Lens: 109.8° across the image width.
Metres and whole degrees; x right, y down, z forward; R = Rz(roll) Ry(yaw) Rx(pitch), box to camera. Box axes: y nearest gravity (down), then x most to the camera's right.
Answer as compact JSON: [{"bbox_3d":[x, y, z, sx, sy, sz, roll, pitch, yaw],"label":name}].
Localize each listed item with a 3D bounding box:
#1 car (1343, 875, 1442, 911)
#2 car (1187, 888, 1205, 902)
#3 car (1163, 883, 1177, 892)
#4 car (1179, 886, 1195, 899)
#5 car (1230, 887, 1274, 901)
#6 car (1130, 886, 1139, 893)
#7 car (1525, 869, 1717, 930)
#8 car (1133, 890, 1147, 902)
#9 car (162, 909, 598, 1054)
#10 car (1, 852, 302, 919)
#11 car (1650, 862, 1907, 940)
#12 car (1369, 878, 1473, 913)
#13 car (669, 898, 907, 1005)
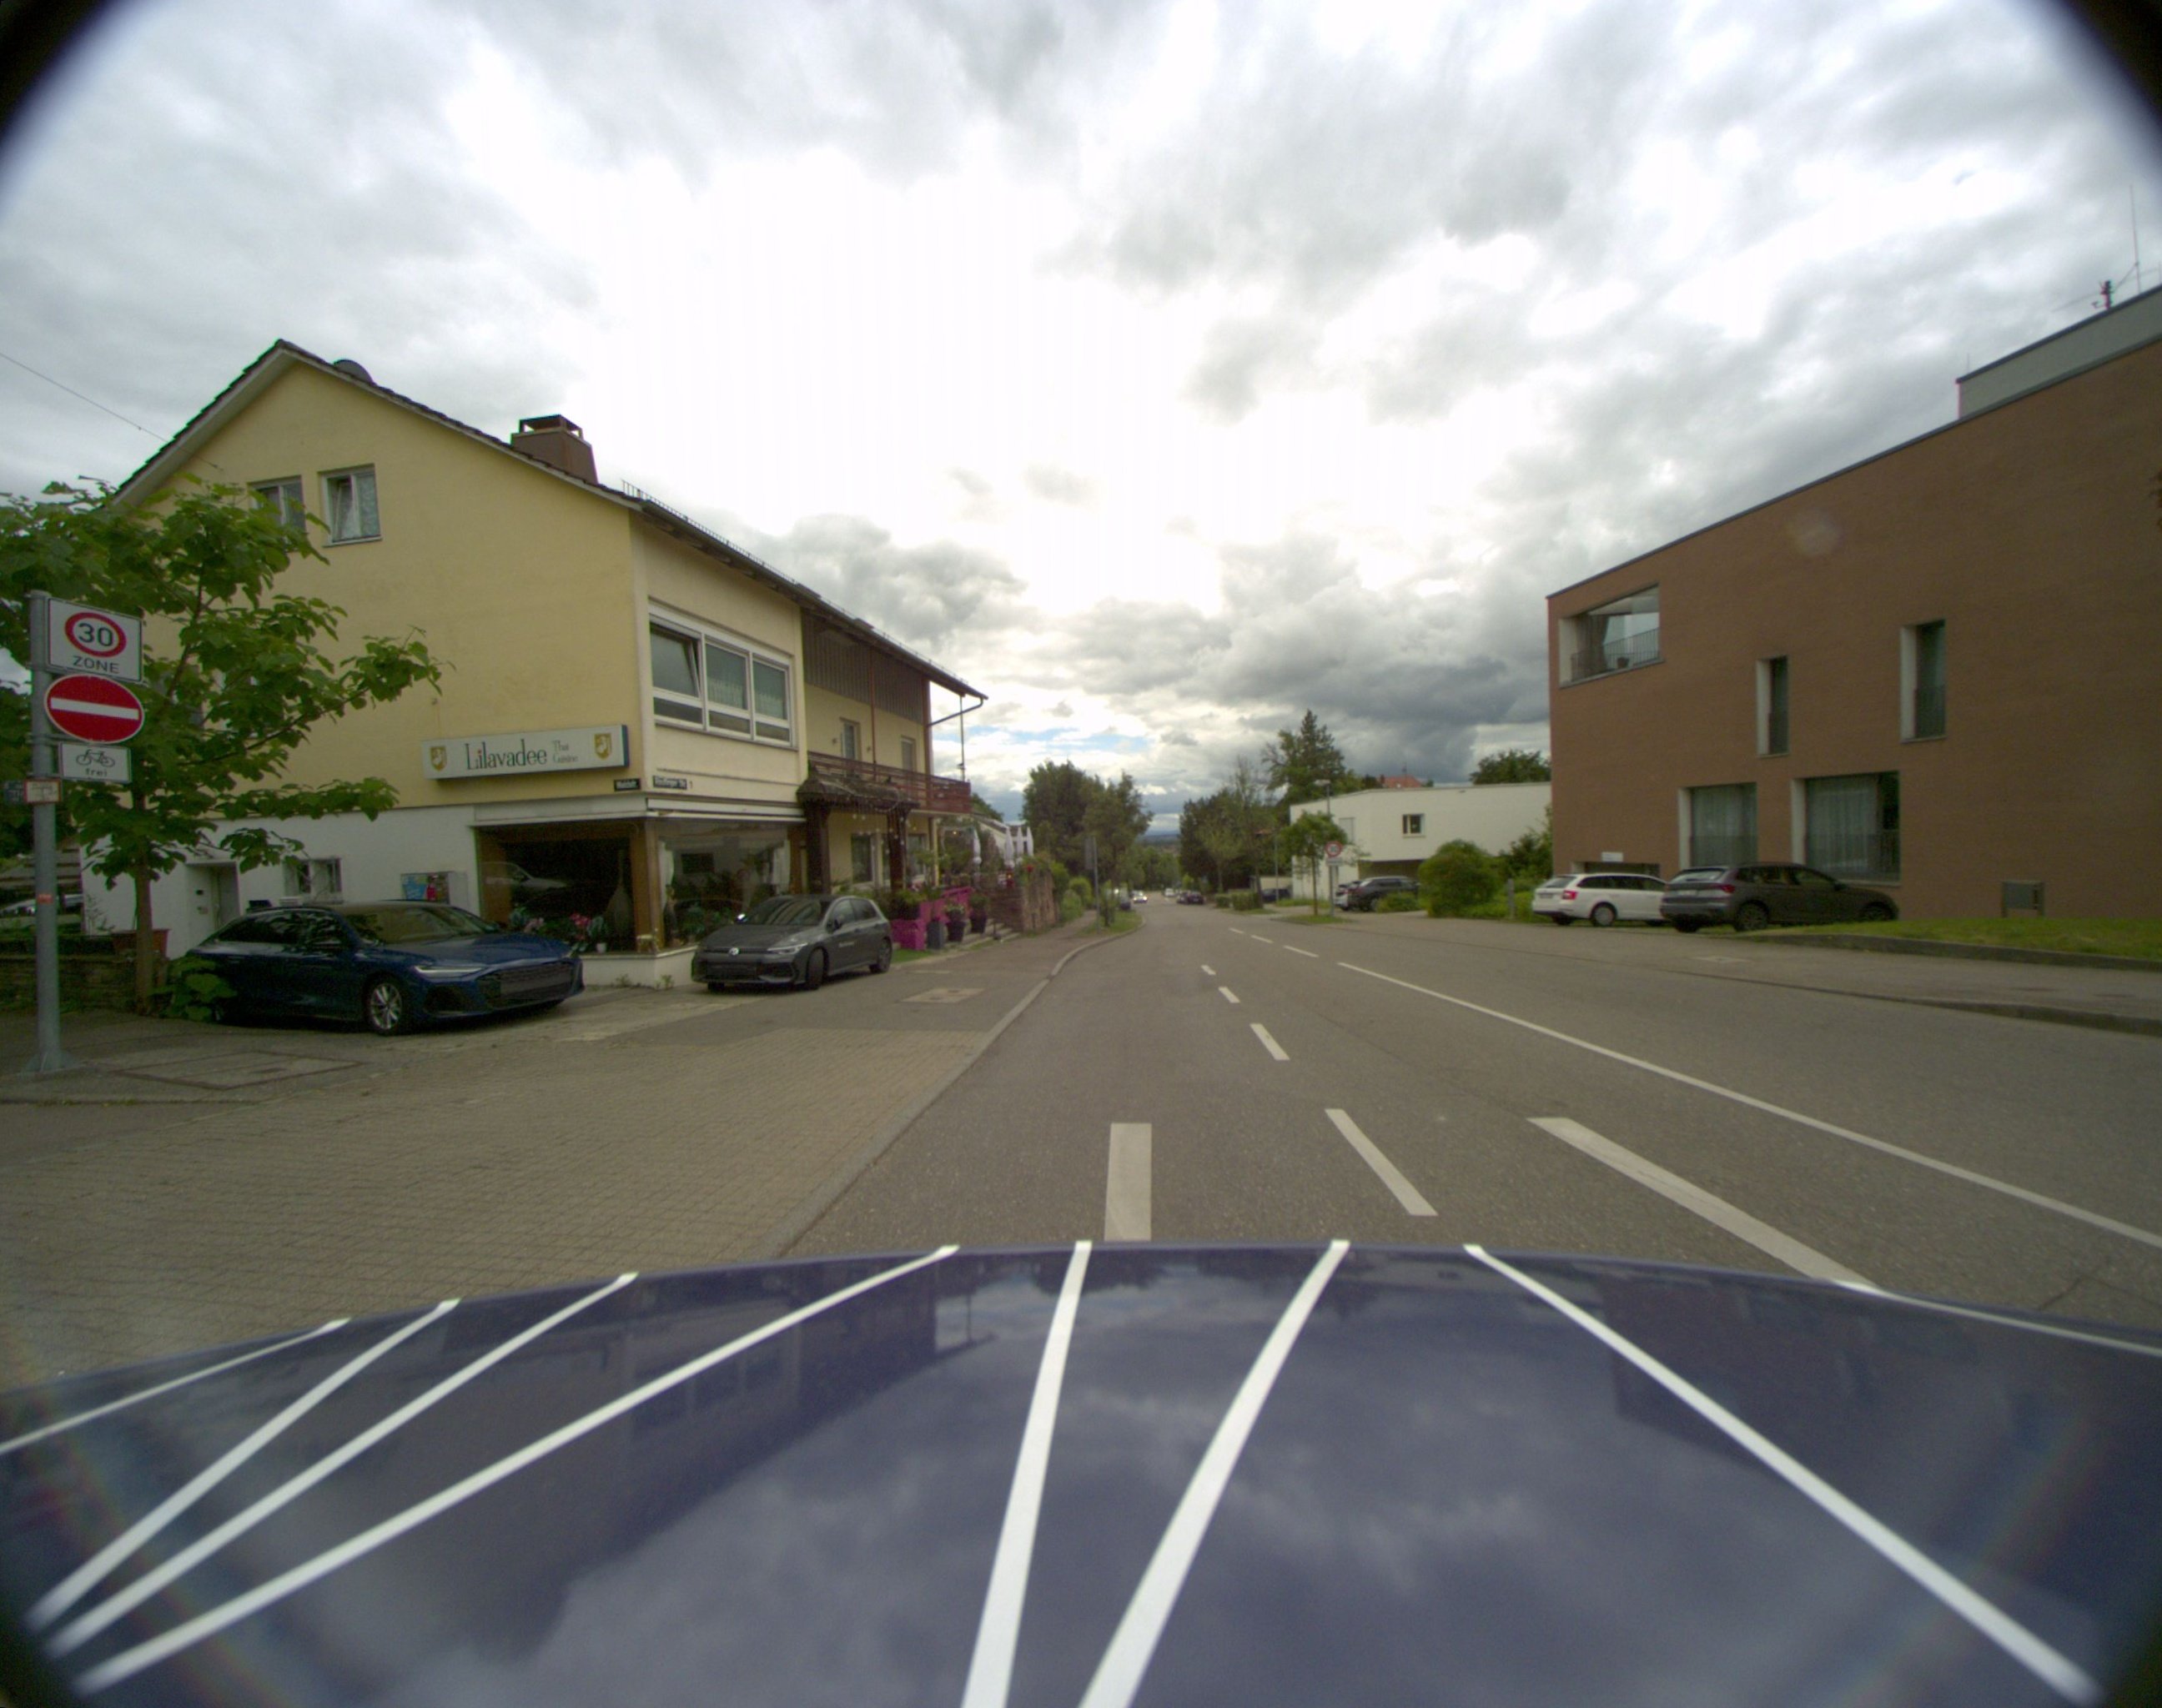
[{"bbox_3d":[15.055,1.892,36.873,3.996,1.585,1.795,-2,-3,3],"label":"car"},{"bbox_3d":[12.181,4.296,80.574,1.661,1.412,4.004,-2,-3,6],"label":"car"},{"bbox_3d":[16.207,6.067,137.969,1.884,1.412,4.368,-1,-1,-2],"label":"car"},{"bbox_3d":[12.498,4.552,89.572,1.661,1.412,4.372,-2,-3,6],"label":"car"},{"bbox_3d":[16.547,3.881,73.725,3.995,1.278,1.665,-2,-3,7],"label":"car"},{"bbox_3d":[12.907,8.580,183.904,1.883,1.412,4.369,-1,-1,1],"label":"car"},{"bbox_3d":[14.615,1.231,20.708,3.998,1.476,1.727,-1,-3,-3],"label":"car"},{"bbox_3d":[8.083,5.766,104.132,1.725,1.476,4.004,-2,-3,6],"label":"car"},{"bbox_3d":[-8.530,1.415,9.285,4.739,1.378,1.802,-2,-1,18],"label":"car"},{"bbox_3d":[-22.681,0.821,18.821,1.795,1.452,4.336,-2,-4,22],"label":"car"},{"bbox_3d":[14.912,0.992,16.377,3.998,1.476,1.727,-1,-3,-3],"label":"car"},{"bbox_3d":[15.600,1.893,35.031,3.996,1.476,1.728,-2,-3,3],"label":"car"},{"bbox_3d":[-4.544,1.476,12.622,1.796,1.452,4.332,-1,-4,8],"label":"car"}]
